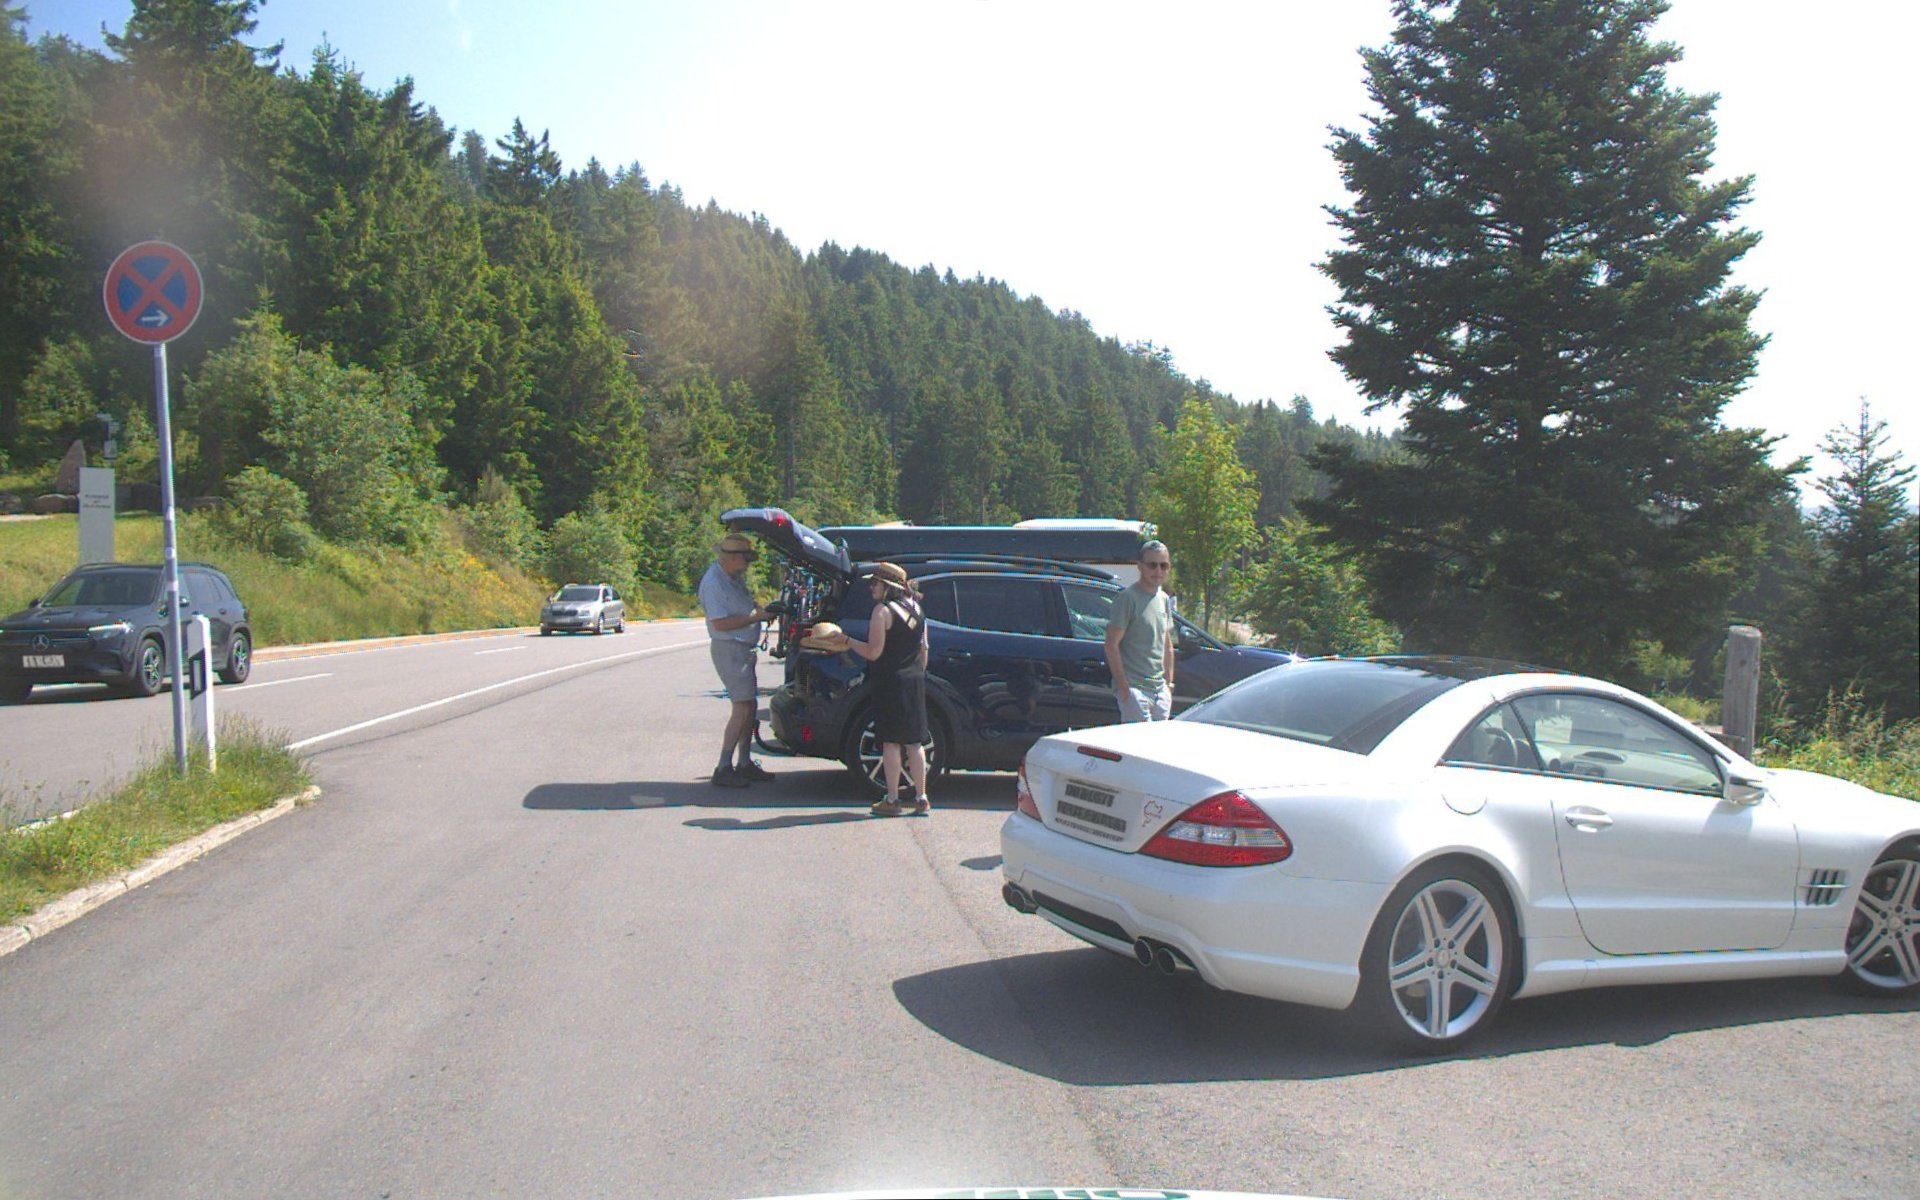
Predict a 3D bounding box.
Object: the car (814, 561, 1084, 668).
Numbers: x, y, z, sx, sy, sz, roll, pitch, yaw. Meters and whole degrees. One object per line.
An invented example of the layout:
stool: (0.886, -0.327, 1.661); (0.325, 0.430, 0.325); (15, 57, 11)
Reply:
car: (-0.204, 0.204, 26.509); (4.159, 1.581, 1.837); (-1, 1, -3)

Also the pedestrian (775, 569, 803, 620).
pedestrian: (-5.494, -0.174, 53.052); (0.754, 1.613, 0.773); (-1, 0, 3)

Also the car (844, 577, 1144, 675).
car: (0.440, 0.348, 23.860); (4.159, 1.291, 1.837); (-1, 1, -3)

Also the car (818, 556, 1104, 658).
car: (-0.025, 0.108, 29.638); (4.934, 1.680, 2.047); (-1, 1, -3)

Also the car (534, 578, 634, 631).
car: (-11.099, 0.109, 49.176); (1.840, 1.500, 4.715); (0, 1, 1)

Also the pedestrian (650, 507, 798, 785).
pedestrian: (-1.689, 0.298, 11.865); (0.721, 1.903, 0.757); (3, 3, 27)

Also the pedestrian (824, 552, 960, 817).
pedestrian: (-0.439, 0.528, 10.627); (0.704, 1.641, 0.533); (1, -1, -24)

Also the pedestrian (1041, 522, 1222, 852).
pedestrian: (1.001, 0.487, 9.697); (0.740, 1.831, 0.727); (2, -1, -35)

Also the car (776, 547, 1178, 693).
car: (0.203, 0.228, 20.953); (4.848, 1.725, 1.945); (0, 1, -1)

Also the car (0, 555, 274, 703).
car: (-10.805, 0.309, 21.461); (1.953, 1.676, 4.566); (-1, 1, -1)

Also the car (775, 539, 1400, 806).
car: (0.837, 0.524, 12.276); (4.263, 1.654, 1.866); (3, -1, -9)

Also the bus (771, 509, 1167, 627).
bus: (0.386, -1.040, 54.956); (12.815, 3.594, 3.046); (-1, 1, 7)

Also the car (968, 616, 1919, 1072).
car: (2.371, 0.825, 6.810); (4.344, 1.318, 1.741); (2, 1, -27)
